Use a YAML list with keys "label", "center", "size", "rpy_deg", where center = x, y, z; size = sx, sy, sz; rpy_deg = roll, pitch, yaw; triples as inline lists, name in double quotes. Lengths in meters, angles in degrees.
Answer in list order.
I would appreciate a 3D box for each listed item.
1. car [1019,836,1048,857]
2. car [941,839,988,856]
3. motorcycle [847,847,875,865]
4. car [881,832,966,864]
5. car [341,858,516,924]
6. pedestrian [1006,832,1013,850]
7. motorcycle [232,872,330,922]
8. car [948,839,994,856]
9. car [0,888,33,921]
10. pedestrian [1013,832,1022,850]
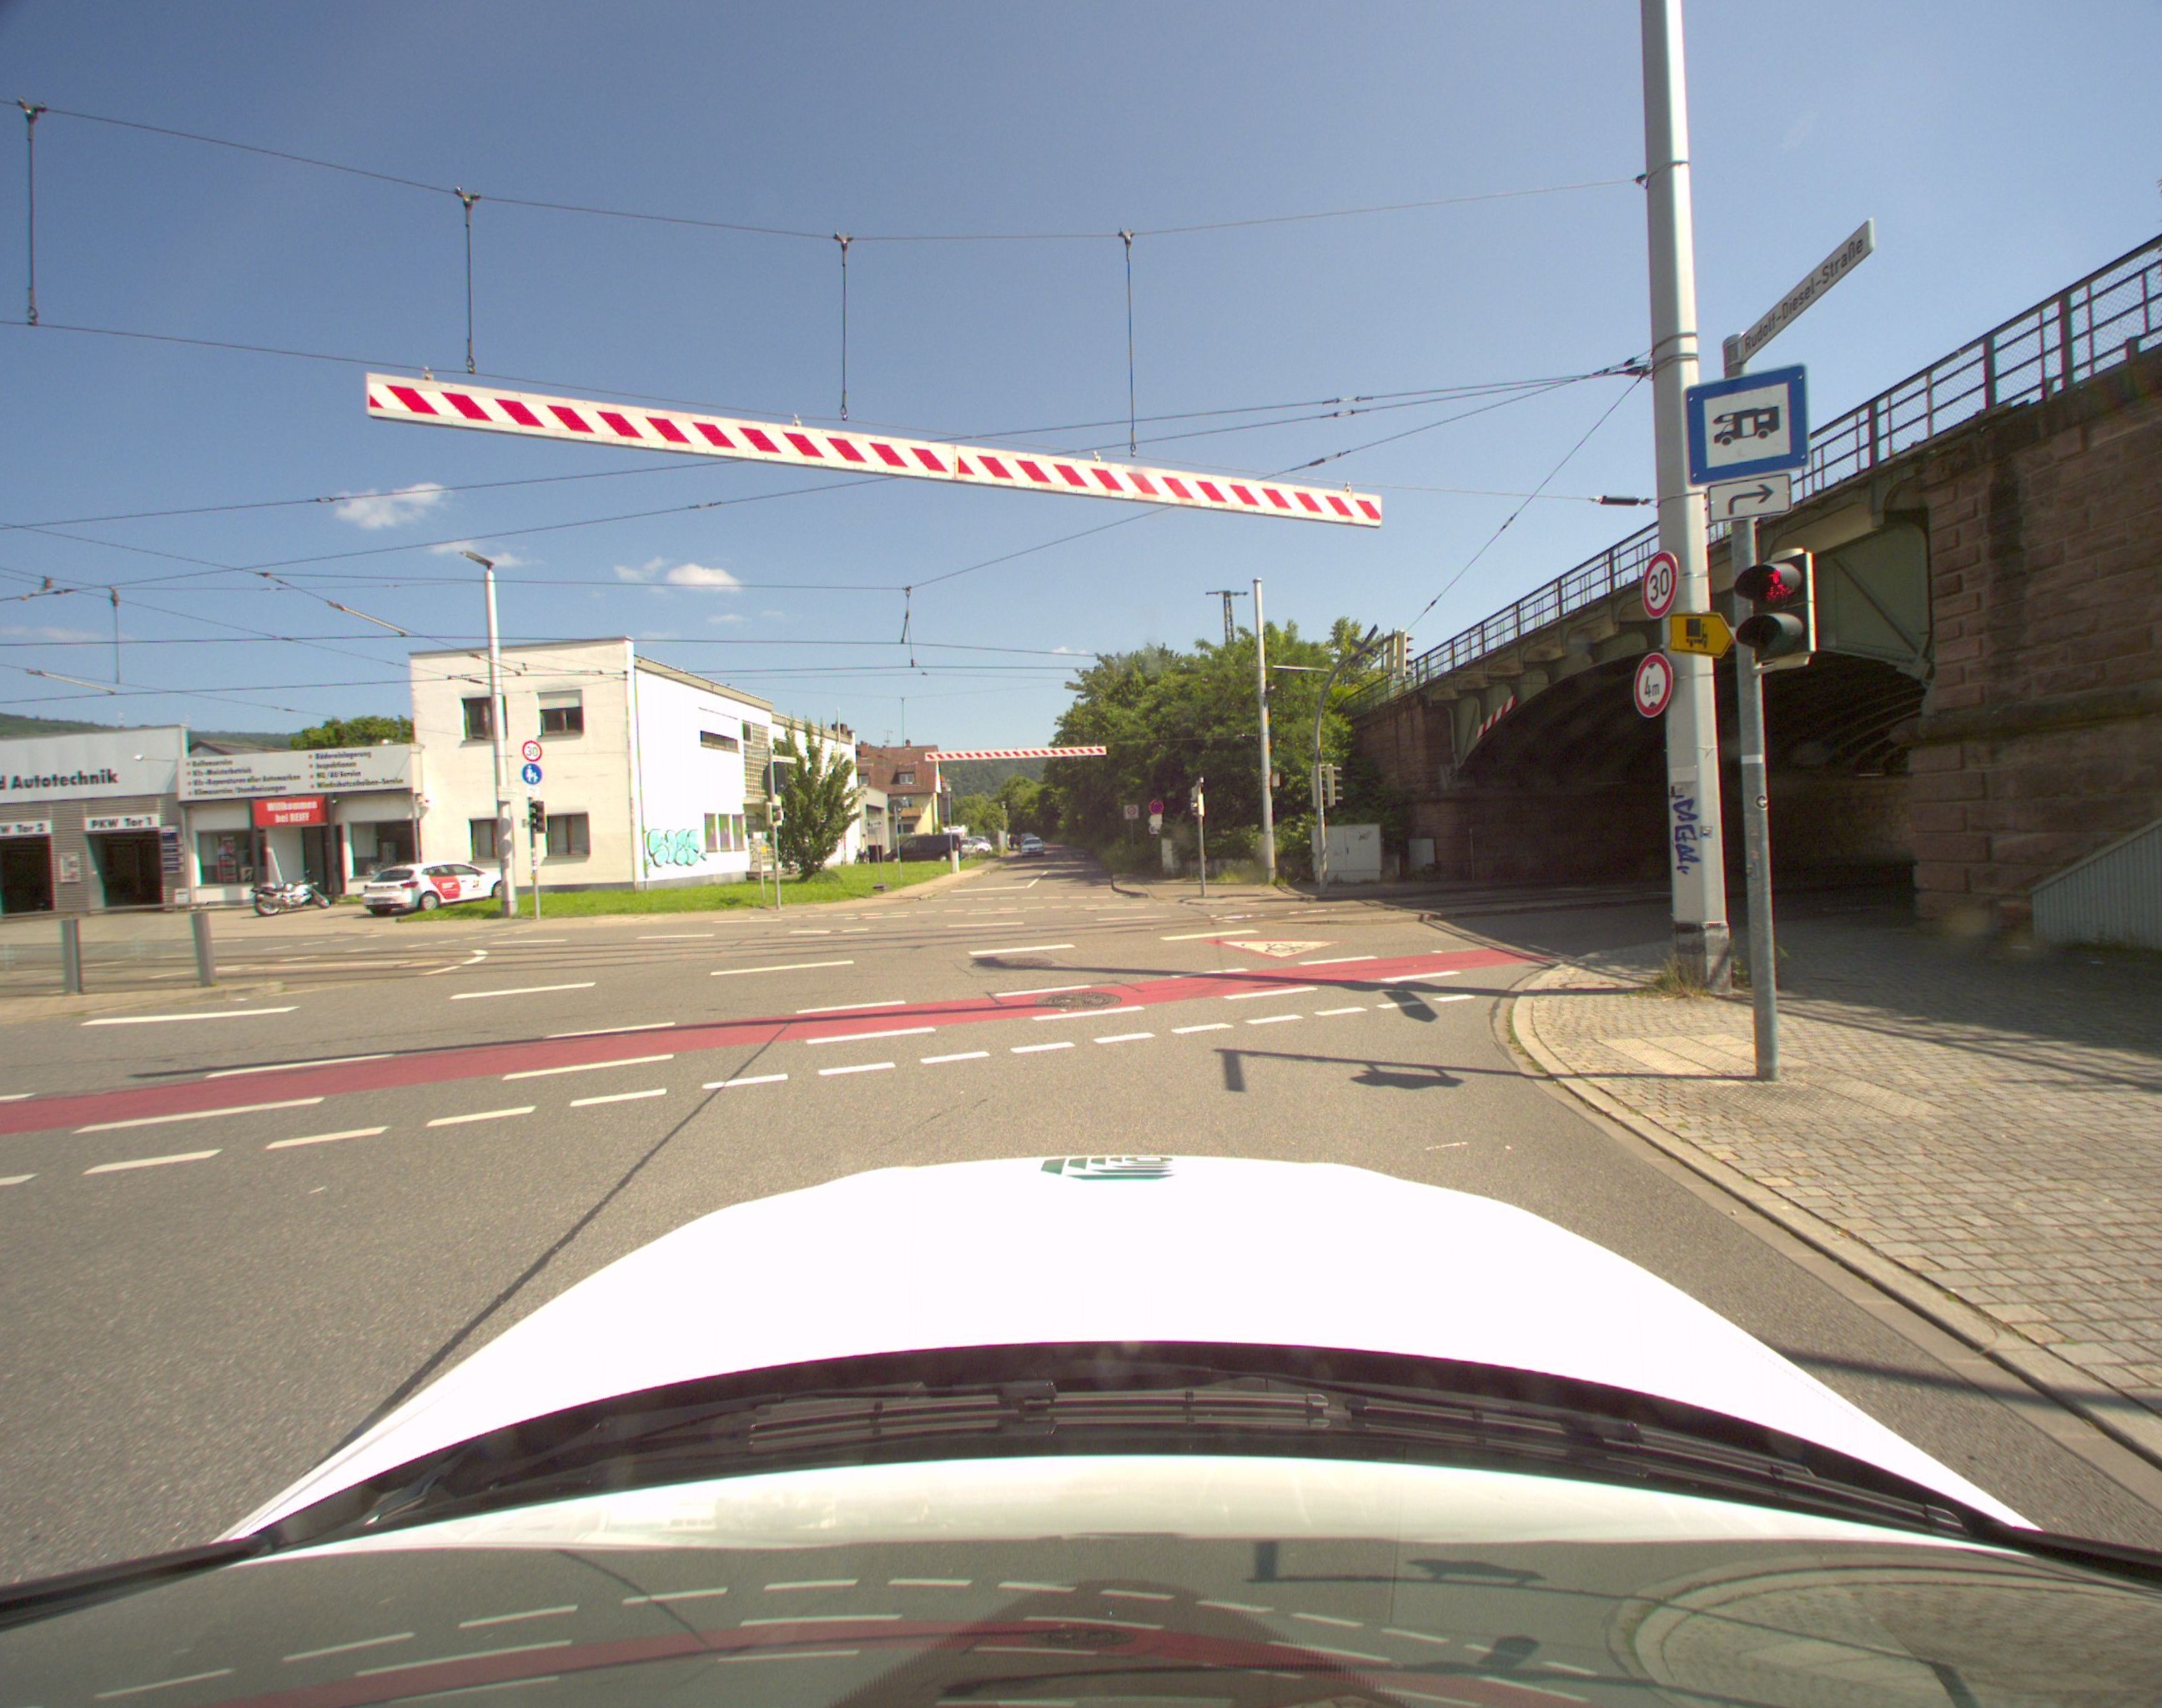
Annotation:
- label: "car"
  center: [-3.740, -0.631, 65.099]
  size: [2.080, 1.510, 4.538]
  rpy_deg: [-1, 2, -1]
- label: "car"
  center: [-9.758, -0.548, 68.375]
  size: [3.708, 1.371, 1.604]
  rpy_deg: [-1, 0, 0]
- label: "motorcycle"
  center: [-13.195, 0.132, 48.872]
  size: [0.848, 1.032, 2.568]
  rpy_deg: [-1, 0, 2]
- label: "car"
  center: [-10.436, -0.423, 54.247]
  size: [5.235, 1.816, 1.998]
  rpy_deg: [-3, 1, -3]
- label: "car"
  center: [-20.124, 1.077, 25.367]
  size: [1.875, 1.462, 4.007]
  rpy_deg: [-3, 4, 5]
- label: "pedestrian"
  center: [-7.169, -1.272, 81.565]
  size: [0.652, 1.763, 0.803]
  rpy_deg: [-1, -1, -2]
- label: "motorcycle"
  center: [-25.700, 1.360, 26.229]
  size: [0.725, 1.308, 2.194]
  rpy_deg: [-3, 4, 5]
- label: "car"
  center: [-9.572, -0.564, 71.034]
  size: [3.708, 1.371, 1.604]
  rpy_deg: [-1, 0, 0]
- label: "car"
  center: [-49.138, 2.339, 35.561]
  size: [1.713, 1.376, 3.776]
  rpy_deg: [-2, 1, 2]
- label: "pedestrian"
  center: [-6.344, -1.294, 81.215]
  size: [0.873, 1.763, 0.730]
  rpy_deg: [-1, -1, -2]
